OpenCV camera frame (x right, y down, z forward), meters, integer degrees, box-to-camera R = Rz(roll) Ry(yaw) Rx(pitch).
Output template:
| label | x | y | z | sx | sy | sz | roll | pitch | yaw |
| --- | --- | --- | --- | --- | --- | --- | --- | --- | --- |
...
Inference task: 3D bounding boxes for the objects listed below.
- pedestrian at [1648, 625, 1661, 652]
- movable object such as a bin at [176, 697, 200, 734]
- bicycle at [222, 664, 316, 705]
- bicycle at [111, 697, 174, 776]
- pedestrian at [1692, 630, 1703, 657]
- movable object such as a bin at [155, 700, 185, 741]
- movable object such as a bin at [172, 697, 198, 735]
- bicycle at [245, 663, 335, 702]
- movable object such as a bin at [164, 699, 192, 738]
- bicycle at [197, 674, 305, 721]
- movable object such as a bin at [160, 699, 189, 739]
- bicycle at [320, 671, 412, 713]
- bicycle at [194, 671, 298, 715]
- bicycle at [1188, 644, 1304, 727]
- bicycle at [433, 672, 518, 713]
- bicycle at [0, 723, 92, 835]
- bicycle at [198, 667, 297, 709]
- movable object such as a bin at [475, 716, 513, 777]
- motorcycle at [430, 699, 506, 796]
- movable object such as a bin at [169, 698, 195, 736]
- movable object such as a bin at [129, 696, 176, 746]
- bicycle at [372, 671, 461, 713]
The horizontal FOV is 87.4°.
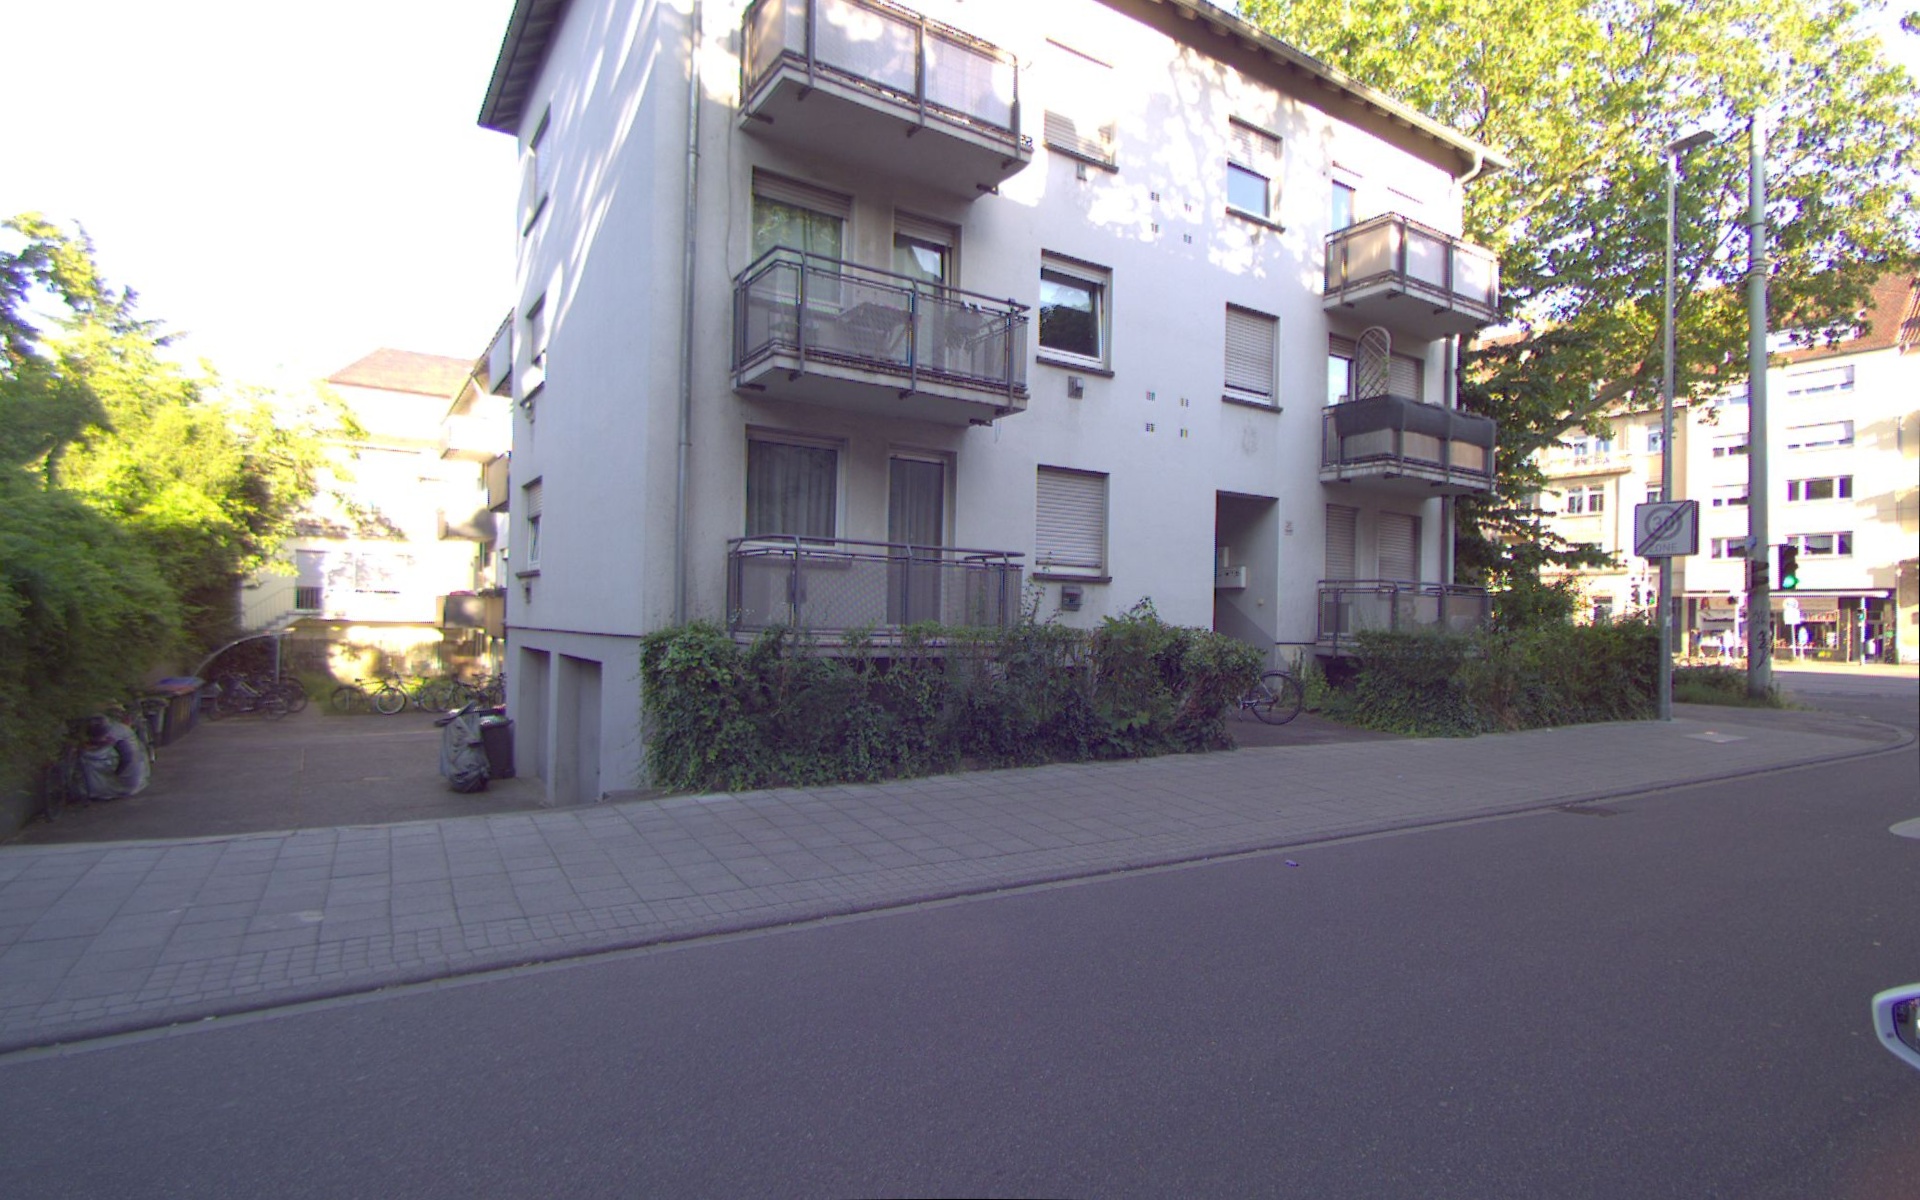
| label | x | y | z | sx | sy | sz | roll | pitch | yaw |
| --- | --- | --- | --- | --- | --- | --- | --- | --- | --- |
| pedestrian | 40.468 | 2.255 | 58.520 | 0.558 | 1.531 | 0.499 | 0 | -1 | 41 |
| movable object such as a bin | -16.617 | 2.474 | 21.627 | 0.342 | 0.768 | 0.361 | 2 | -4 | -30 |
| bicycle | -19.005 | 2.345 | 27.689 | 2.045 | 1.034 | 0.611 | 4 | 0 | -30 |
| bicycle | -13.231 | 2.176 | 16.291 | 0.509 | 1.033 | 1.922 | 3 | -1 | -32 |
| pedestrian | 42.275 | 2.494 | 57.591 | 0.502 | 1.531 | 0.535 | 0 | -1 | 37 |
| movable object such as a bin | -15.639 | 2.381 | 19.891 | 0.393 | 0.784 | 0.361 | 2 | -4 | -30 |
| movable object such as a bin | -16.412 | 2.451 | 21.282 | 0.362 | 0.768 | 0.361 | 2 | -4 | -30 |
| bicycle | -19.028 | 2.349 | 28.561 | 2.045 | 1.034 | 0.564 | 4 | 0 | -30 |
| movable object such as a bin | -16.032 | 2.423 | 20.592 | 0.371 | 0.768 | 0.361 | 2 | -4 | -30 |
| bicycle | -17.286 | 2.382 | 24.547 | 2.045 | 1.034 | 0.637 | 4 | 0 | -30 |
| movable object such as a bin | -15.834 | 2.398 | 20.251 | 0.377 | 0.784 | 0.361 | 2 | -4 | -30 |
| bicycle | -15.703 | 2.440 | 26.610 | 2.045 | 1.034 | 0.637 | 4 | 0 | -30 |
| bicycle | -18.037 | 2.363 | 25.426 | 2.045 | 1.034 | 0.568 | 4 | 0 | -30 |
| bicycle | 3.874 | 1.141 | 13.612 | 1.433 | 0.988 | 0.407 | 3 | 0 | 21 |
| bicycle | -13.473 | 2.576 | 27.939 | 2.045 | 1.034 | 0.637 | 4 | 0 | -30 |
| bicycle | -10.998 | 2.104 | 12.070 | 0.509 | 1.033 | 1.922 | 3 | -1 | -32 |
| bicycle | -18.870 | 2.344 | 26.652 | 2.045 | 1.034 | 0.611 | 4 | 0 | -30 |
| movable object such as a bin | -7.510 | 2.347 | 16.180 | 0.428 | 0.899 | 0.720 | 1 | -2 | -34 |
| motorcycle | -7.384 | 2.165 | 15.039 | 0.751 | 1.268 | 1.577 | 1 | -2 | -36 |
| movable object such as a bin | -16.219 | 2.436 | 20.942 | 0.362 | 0.768 | 0.361 | 2 | -4 | -30 |
| movable object such as a bin | -14.960 | 2.238 | 18.619 | 0.570 | 0.891 | 0.491 | 2 | -4 | -30 |
| bicycle | -14.709 | 2.500 | 27.215 | 2.045 | 1.034 | 0.637 | 4 | 0 | -30 |
